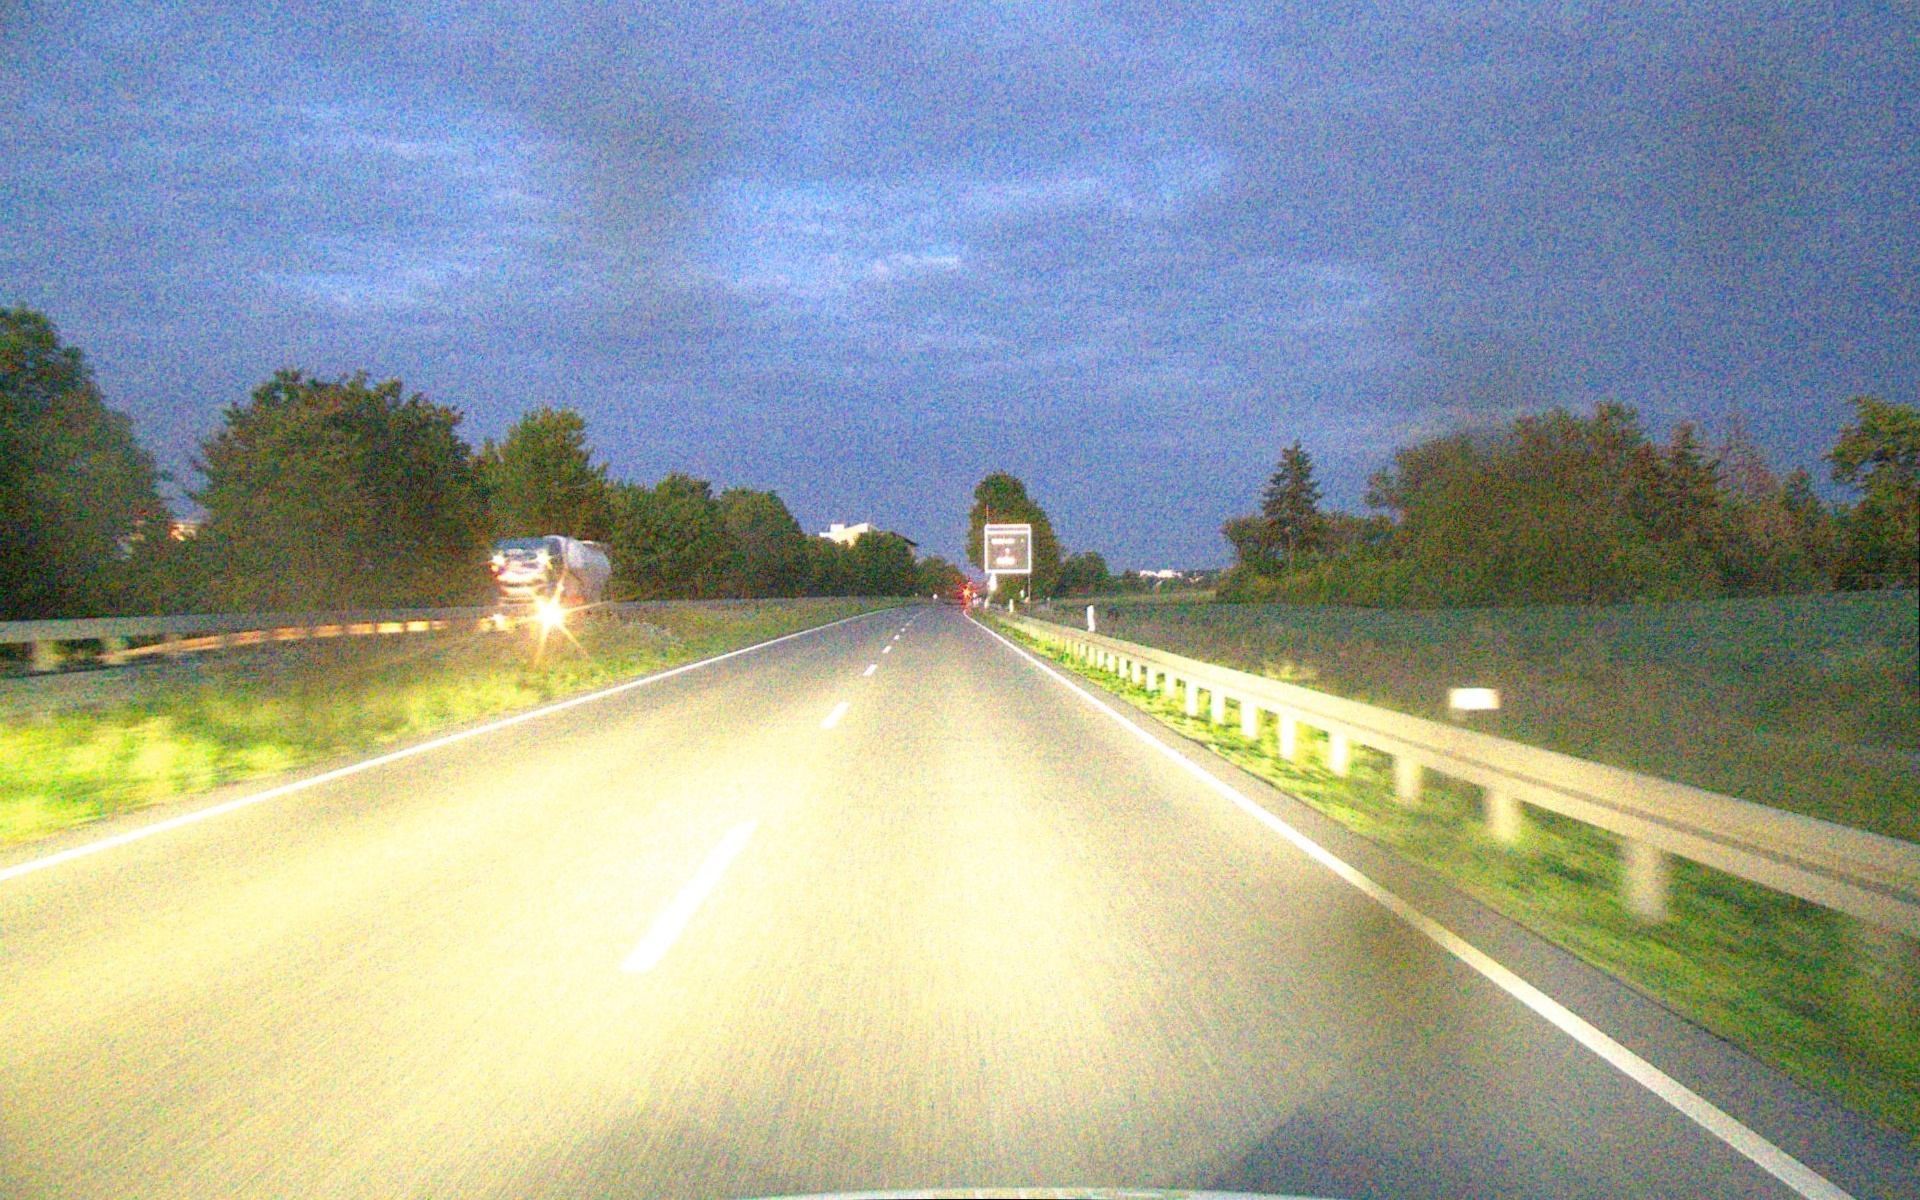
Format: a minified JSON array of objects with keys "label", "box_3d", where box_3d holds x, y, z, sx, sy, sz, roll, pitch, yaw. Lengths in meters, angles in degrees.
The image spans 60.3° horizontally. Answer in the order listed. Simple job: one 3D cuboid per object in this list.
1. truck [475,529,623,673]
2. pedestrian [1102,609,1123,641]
[{"label":"truck","box_3d":[-16.515,0.018,67.573,3.137,5.347,12.606,0,0,-1]},{"label":"pedestrian","box_3d":[8.152,1.345,88.418,1.040,1.672,1.118,1,0,-1]}]
